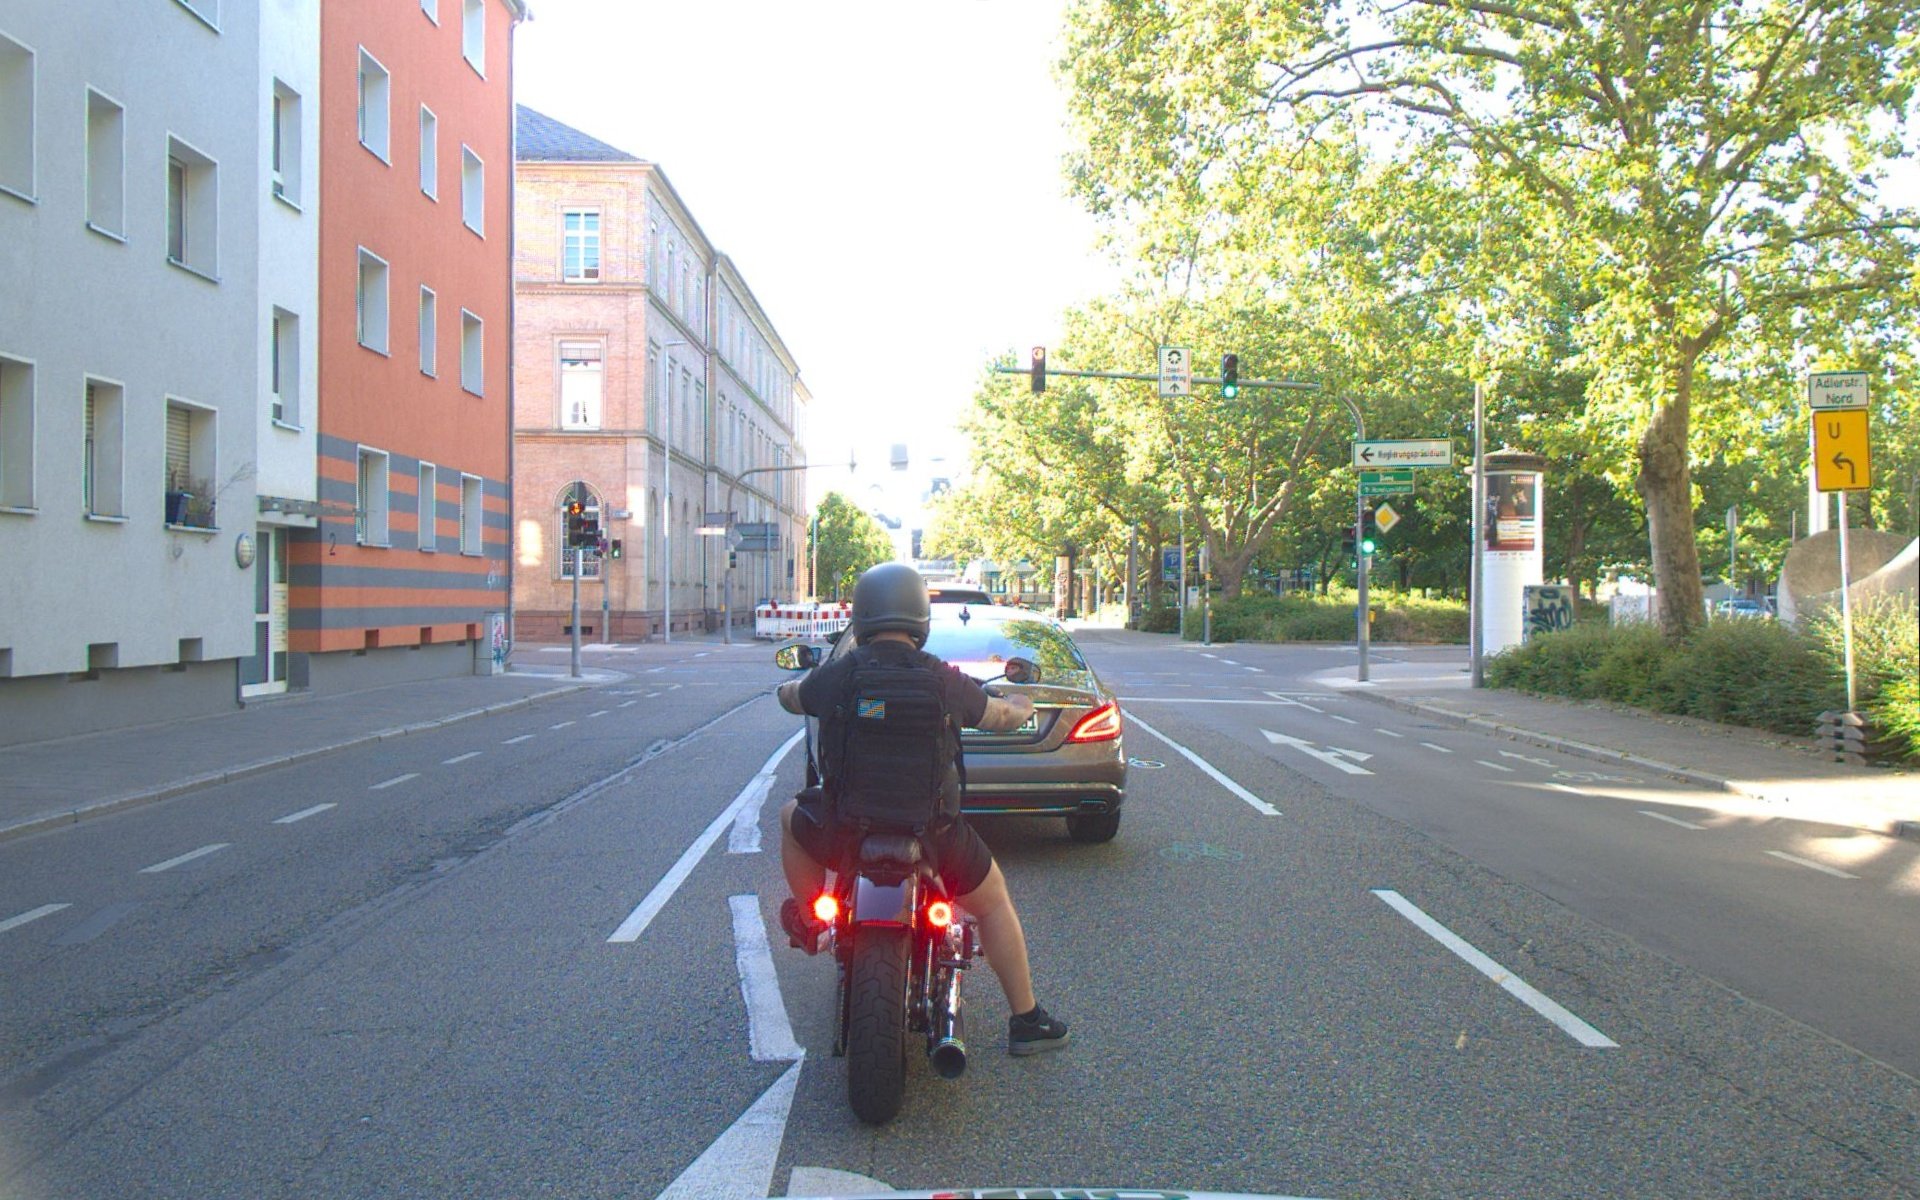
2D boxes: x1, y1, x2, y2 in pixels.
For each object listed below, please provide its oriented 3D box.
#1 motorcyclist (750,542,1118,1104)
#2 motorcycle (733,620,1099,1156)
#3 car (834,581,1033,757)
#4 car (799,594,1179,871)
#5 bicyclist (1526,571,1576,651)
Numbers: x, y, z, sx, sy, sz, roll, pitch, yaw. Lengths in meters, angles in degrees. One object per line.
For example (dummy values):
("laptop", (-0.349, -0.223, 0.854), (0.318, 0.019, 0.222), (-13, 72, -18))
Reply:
("motorcyclist", (-0.080, 0.649, 5.248), (1.039, 1.610, 0.908), (1, 0, -1))
("motorcycle", (-0.130, 0.774, 5.517), (0.942, 1.380, 2.319), (1, 0, -1))
("car", (-0.344, 0.608, 16.747), (1.777, 1.563, 3.846), (0, 0, -3))
("car", (-0.030, 0.700, 11.081), (1.867, 1.466, 4.280), (0, 0, -9))
("bicyclist", (12.186, 0.227, 34.127), (0.701, 1.610, 0.936), (1, 0, 0))
